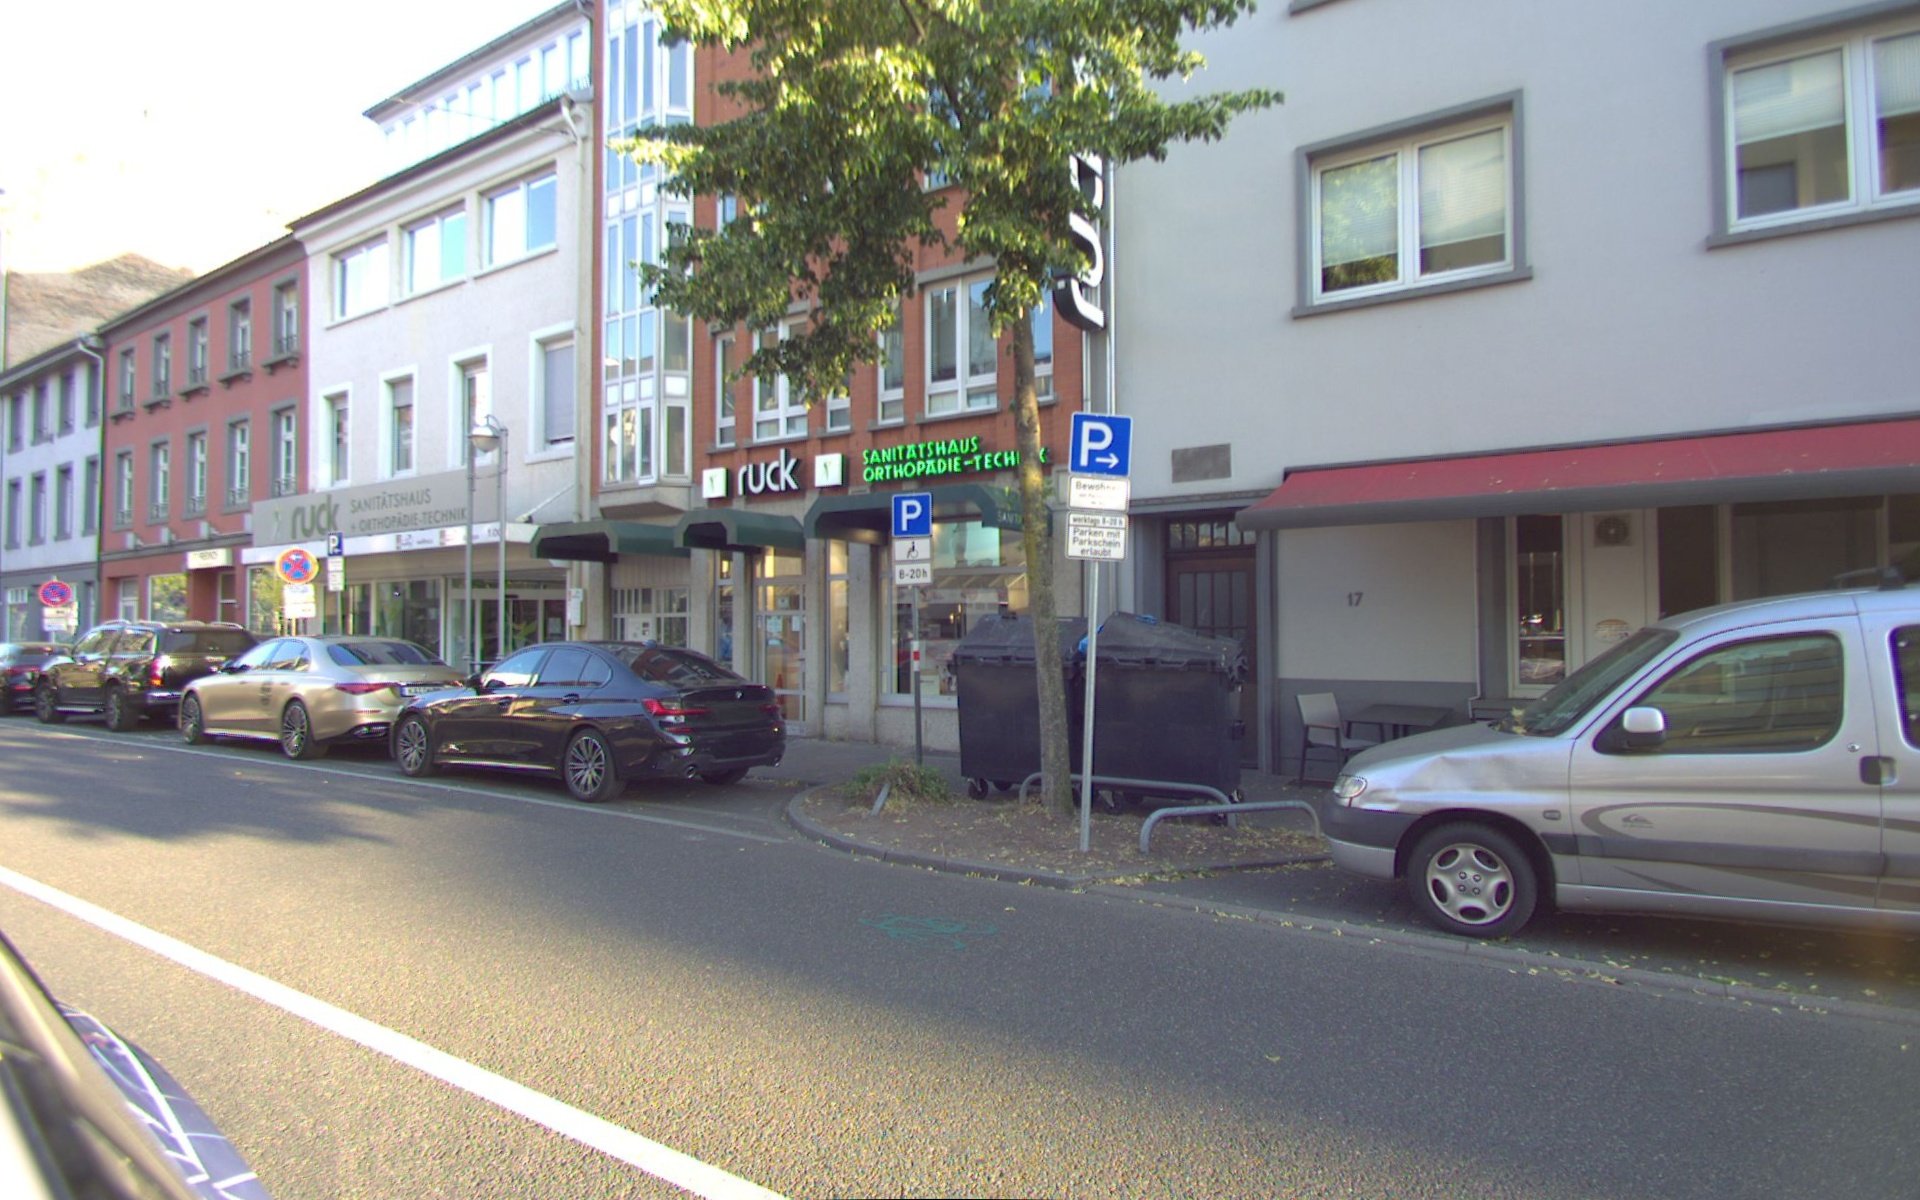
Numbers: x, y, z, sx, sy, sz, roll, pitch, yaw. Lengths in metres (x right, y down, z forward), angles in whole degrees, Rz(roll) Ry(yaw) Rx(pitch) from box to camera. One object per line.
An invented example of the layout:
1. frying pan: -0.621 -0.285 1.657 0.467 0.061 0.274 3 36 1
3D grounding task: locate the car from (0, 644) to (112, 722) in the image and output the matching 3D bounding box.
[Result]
1. car: -19.241 1.657 20.712 4.001 1.448 1.688 -2 -5 32

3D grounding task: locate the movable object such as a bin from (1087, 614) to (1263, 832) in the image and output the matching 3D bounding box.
1. movable object such as a bin: 1.760 0.943 8.271 1.203 1.632 0.775 -1 0 30

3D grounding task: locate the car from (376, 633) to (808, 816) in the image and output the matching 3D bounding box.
1. car: -3.808 1.119 10.191 4.528 1.484 1.706 -2 -5 33

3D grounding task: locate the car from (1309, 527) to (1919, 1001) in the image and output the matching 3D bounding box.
1. car: 3.977 0.708 4.987 4.038 1.902 1.657 -1 -4 31

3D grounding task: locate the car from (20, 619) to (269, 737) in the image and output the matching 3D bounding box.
1. car: -14.053 1.291 17.366 4.921 1.793 1.708 -2 -4 31

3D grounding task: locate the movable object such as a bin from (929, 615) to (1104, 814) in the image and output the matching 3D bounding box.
1. movable object such as a bin: 0.502 0.961 9.006 1.331 1.632 0.775 -1 -1 30

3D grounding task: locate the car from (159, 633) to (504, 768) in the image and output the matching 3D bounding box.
1. car: -8.440 1.238 13.433 5.094 1.484 1.977 -2 -4 34
